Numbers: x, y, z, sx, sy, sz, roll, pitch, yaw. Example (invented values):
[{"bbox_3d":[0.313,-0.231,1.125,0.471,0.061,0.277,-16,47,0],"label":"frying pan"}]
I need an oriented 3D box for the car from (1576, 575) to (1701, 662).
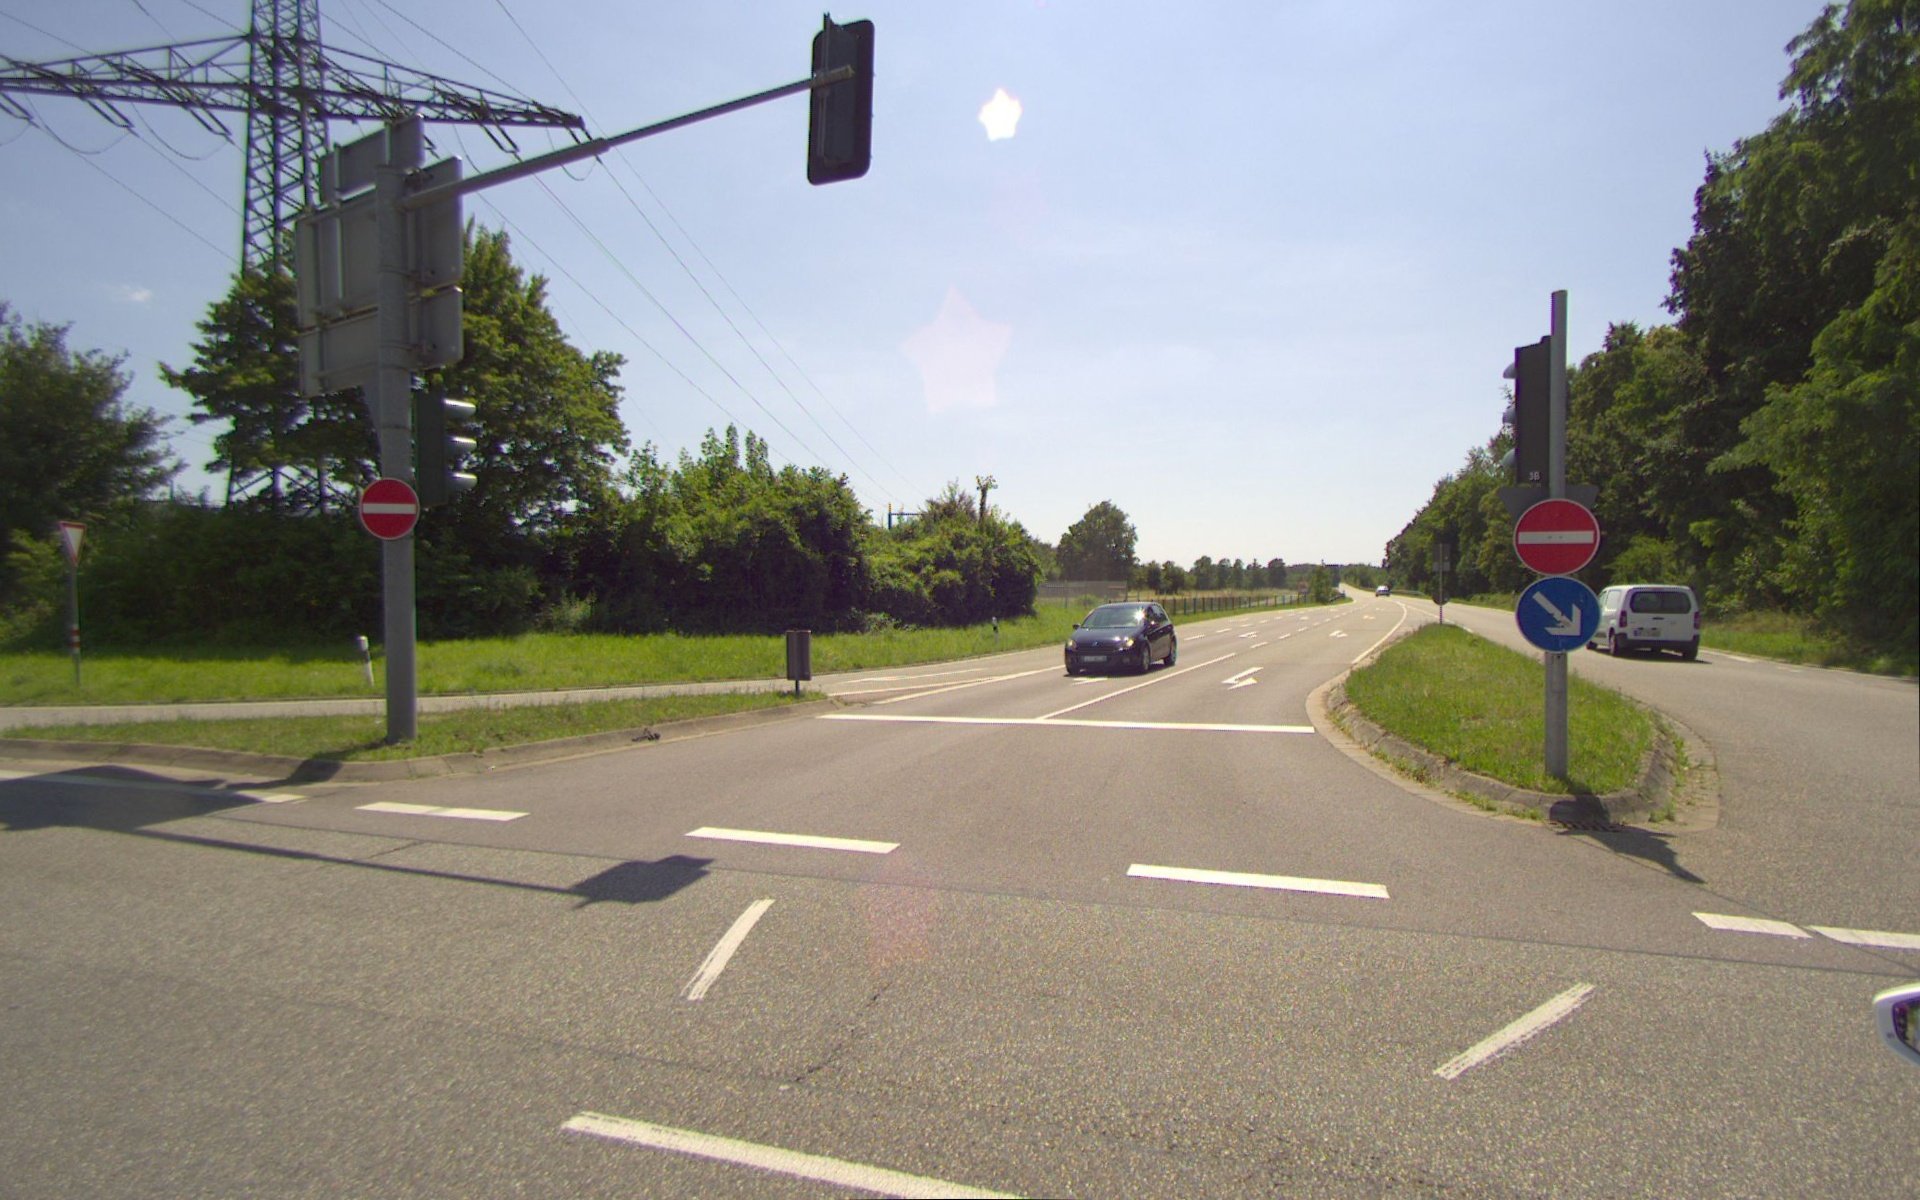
[{"bbox_3d":[17.574,0.396,26.219,1.819,1.851,3.978,1,5,22],"label":"car"}]

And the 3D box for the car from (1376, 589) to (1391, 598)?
[{"bbox_3d":[62.140,-0.959,147.502,1.961,1.392,4.779,0,0,23],"label":"car"}]

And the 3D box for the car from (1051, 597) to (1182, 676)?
[{"bbox_3d":[3.576,0.748,22.297,1.708,1.552,4.163,-3,-1,25],"label":"car"}]
